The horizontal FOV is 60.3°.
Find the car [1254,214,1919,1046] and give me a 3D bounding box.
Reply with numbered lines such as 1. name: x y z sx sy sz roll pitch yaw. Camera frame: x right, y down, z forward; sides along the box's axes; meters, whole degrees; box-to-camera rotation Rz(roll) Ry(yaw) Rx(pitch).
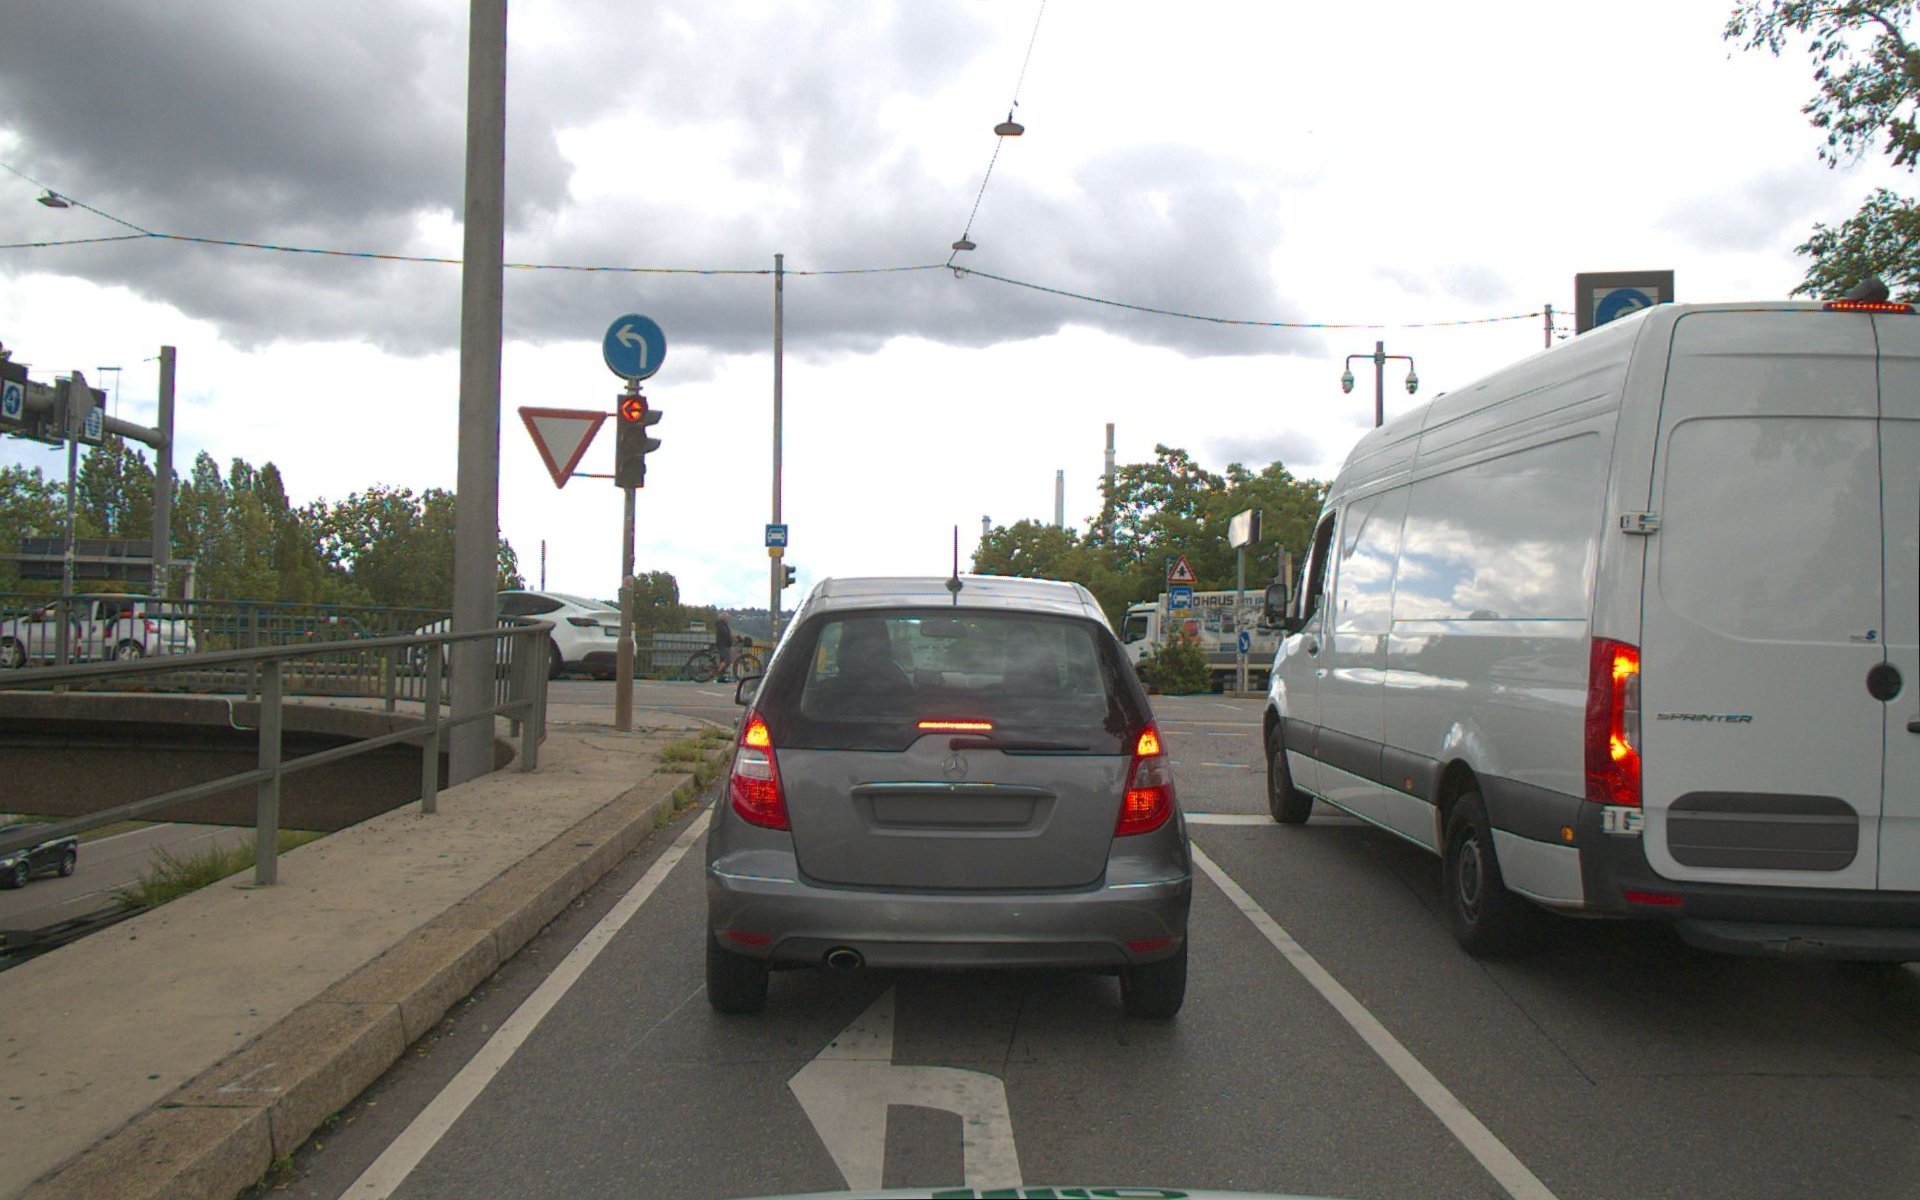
1. car: 3.265 0.071 9.035 2.067 2.832 6.779 0 1 0

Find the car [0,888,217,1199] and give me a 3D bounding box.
1. car: -12.712 5.940 21.664 2.312 3.297 7.659 0 -3 1

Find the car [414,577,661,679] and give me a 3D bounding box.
1. car: -7.833 0.469 30.585 4.309 1.747 1.934 1 1 30

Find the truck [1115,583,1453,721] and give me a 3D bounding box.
1. truck: 9.109 1.312 48.043 2.774 3.580 10.093 0 1 -41

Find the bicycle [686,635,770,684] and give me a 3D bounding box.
1. bicycle: -5.667 1.448 40.361 1.996 1.144 0.927 0 0 -12

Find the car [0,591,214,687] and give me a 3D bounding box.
1. car: -16.720 0.712 31.756 3.903 1.747 1.938 0 0 3

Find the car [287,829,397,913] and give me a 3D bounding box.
1. car: -17.122 7.486 46.014 1.805 1.743 4.273 -1 -2 -6

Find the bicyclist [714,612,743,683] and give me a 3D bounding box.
1. bicyclist: -5.655 1.157 40.374 0.641 1.703 0.867 0 0 -11

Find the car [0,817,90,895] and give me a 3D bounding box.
1. car: -28.875 7.848 50.895 1.892 1.874 4.408 0 -2 -1

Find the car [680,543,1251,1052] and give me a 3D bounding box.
1. car: 0.061 0.599 7.292 1.819 1.616 4.001 0 1 1
